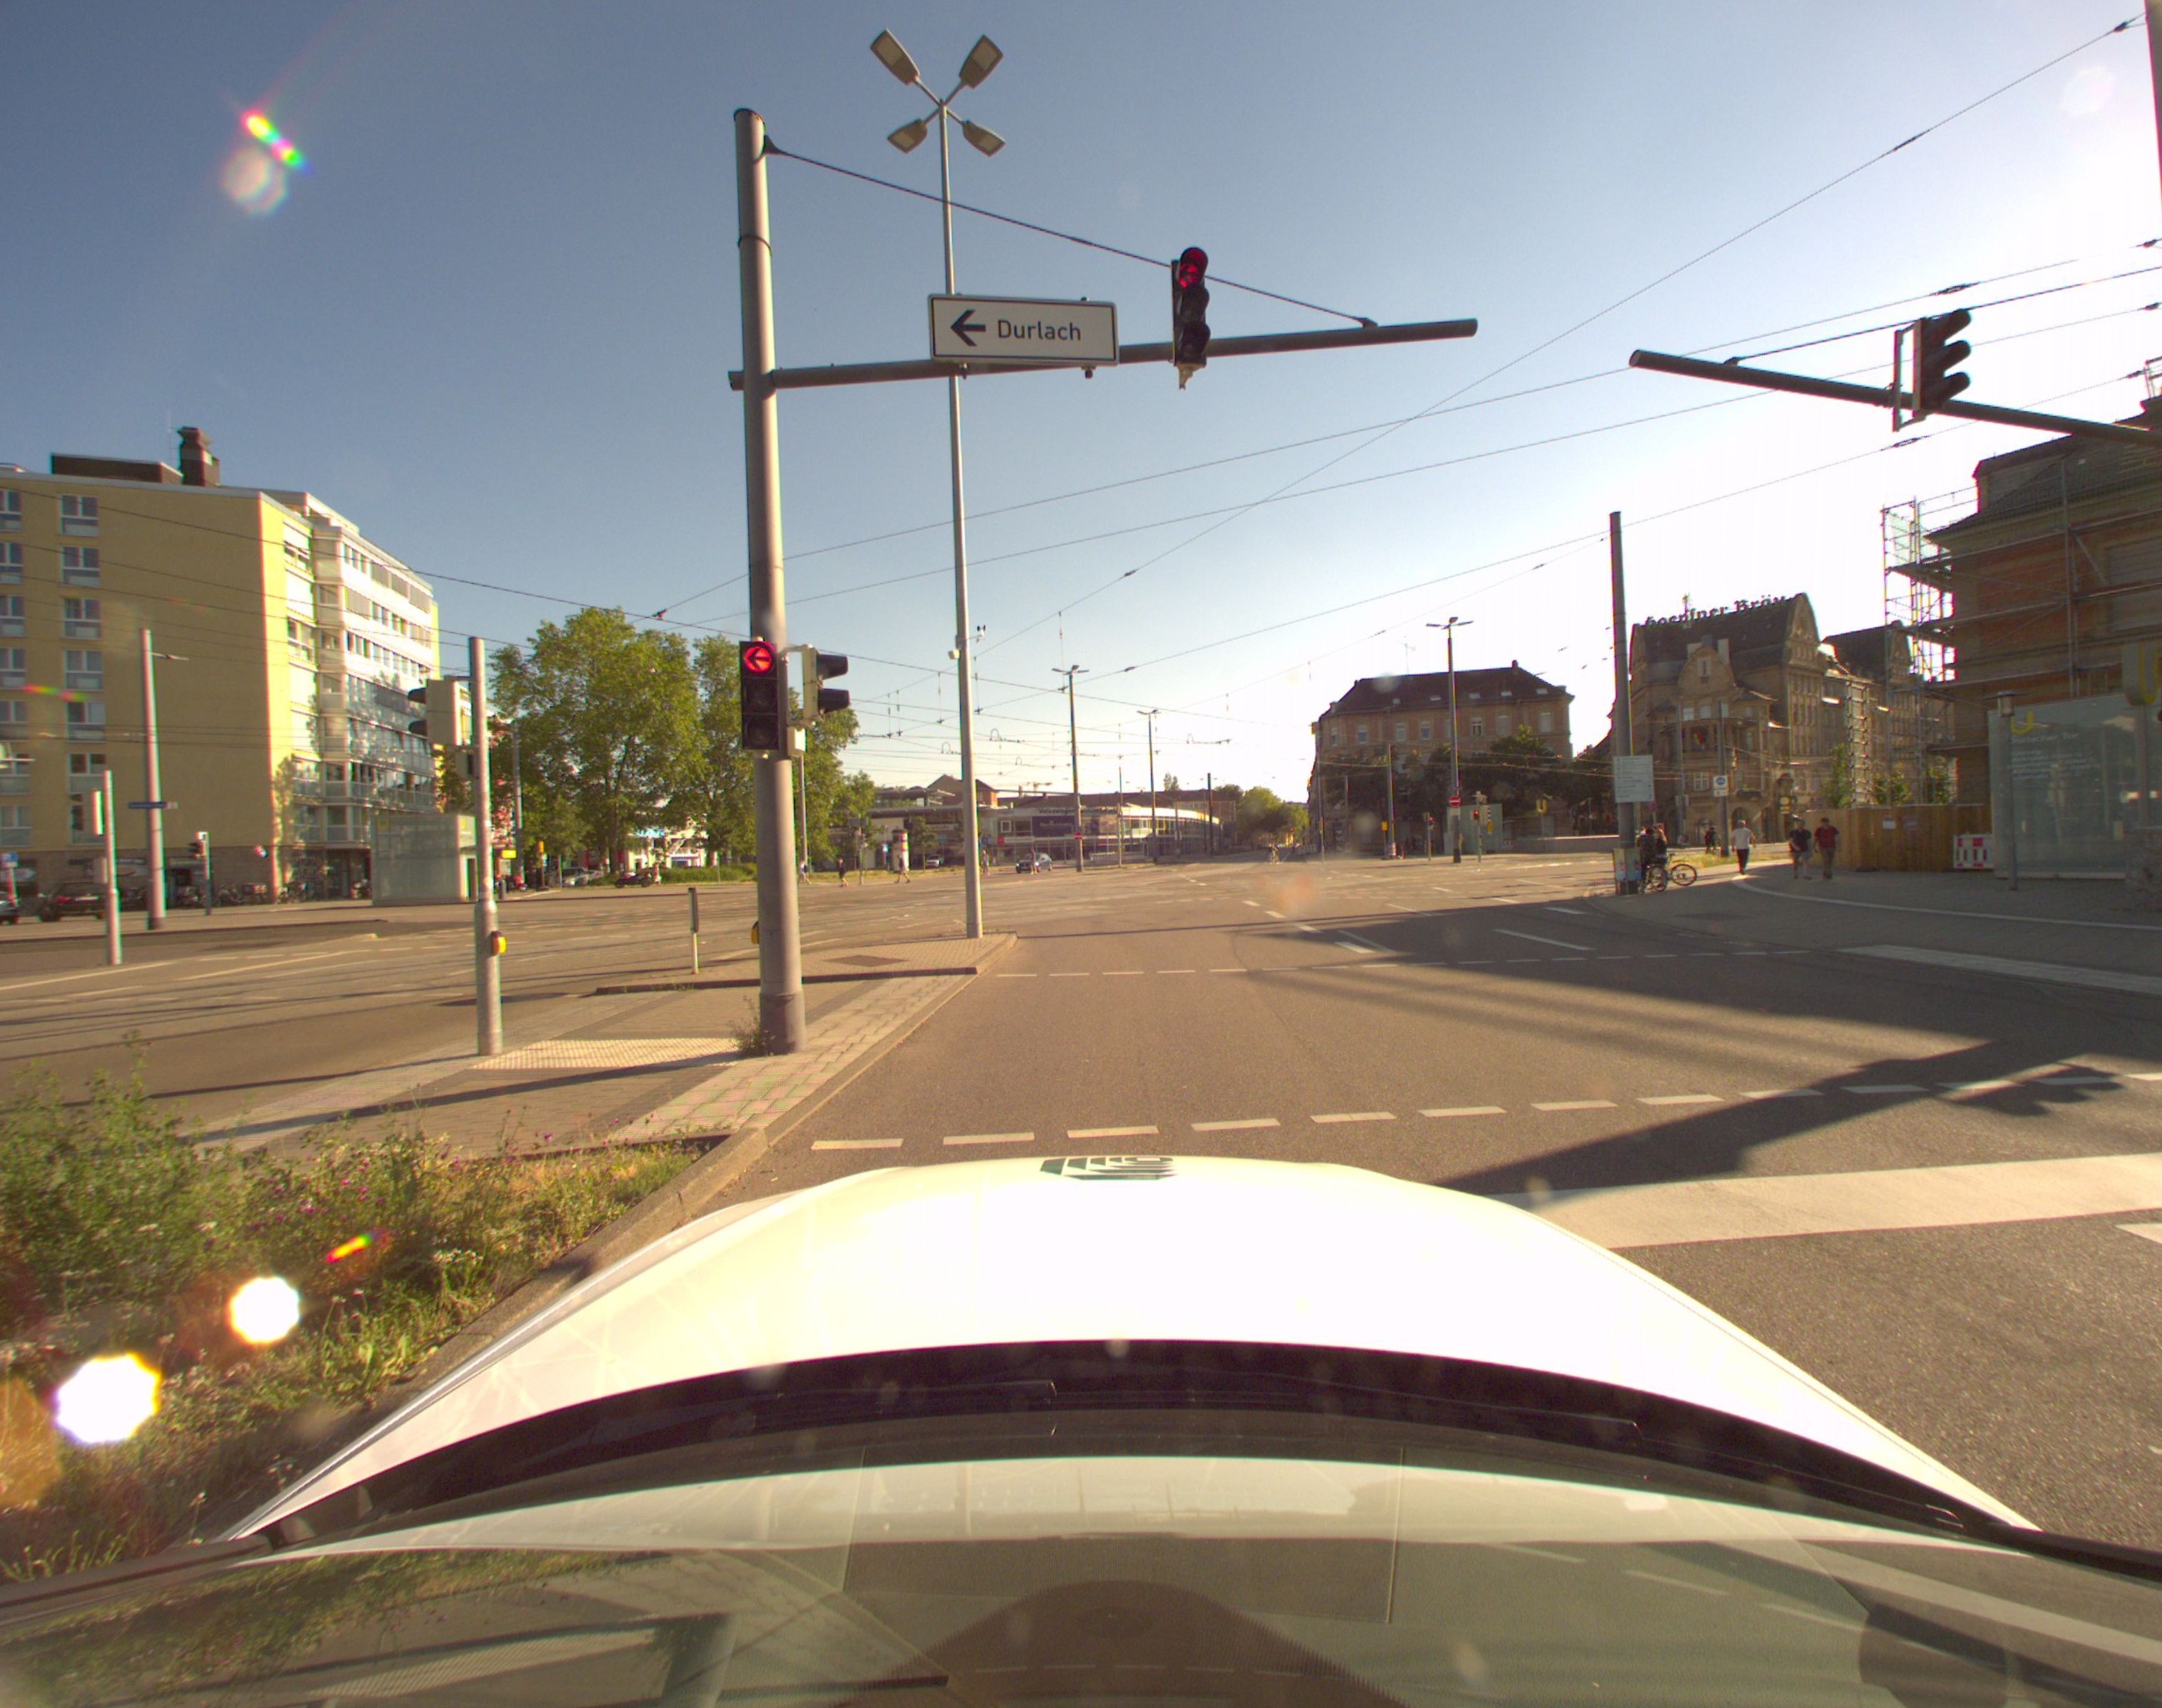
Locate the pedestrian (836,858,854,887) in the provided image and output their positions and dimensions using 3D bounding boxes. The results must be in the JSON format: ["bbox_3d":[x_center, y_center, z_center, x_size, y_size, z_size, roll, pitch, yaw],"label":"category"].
[{"bbox_3d":[-14.010,1.065,48.340,0.790,1.706,0.760,-1,-1,9],"label":"pedestrian"}]

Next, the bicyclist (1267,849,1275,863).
[{"bbox_3d":[14.909,0.145,63.883,0.401,1.116,0.405,0,-1,-38],"label":"bicyclist"}]

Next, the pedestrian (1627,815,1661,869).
[{"bbox_3d":[21.232,-0.438,30.731,0.730,2.014,0.760,0,-1,-6],"label":"pedestrian"}]

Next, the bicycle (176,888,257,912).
[{"bbox_3d":[-46.188,2.449,43.537,3.041,1.151,0.637,0,-1,-16],"label":"bicycle"}]

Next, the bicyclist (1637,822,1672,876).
[{"bbox_3d":[15.825,-0.128,22.480,0.701,1.439,0.953,-1,-1,31],"label":"bicyclist"}]

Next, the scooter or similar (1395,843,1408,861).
[{"bbox_3d":[24.861,-0.173,63.152,0.780,1.376,1.916,-1,-1,16],"label":"scooter or similar"}]

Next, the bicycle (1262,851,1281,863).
[{"bbox_3d":[14.993,0.251,63.945,1.854,0.941,0.407,0,-1,-40],"label":"bicycle"}]

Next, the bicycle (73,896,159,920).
[{"bbox_3d":[-50.307,2.812,42.468,3.041,1.151,0.637,0,-1,-16],"label":"bicycle"}]

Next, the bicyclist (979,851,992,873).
[{"bbox_3d":[-7.051,0.562,60.053,0.593,1.615,0.826,-1,-1,19],"label":"bicyclist"}]

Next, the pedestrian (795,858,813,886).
[{"bbox_3d":[-16.923,1.097,49.718,0.790,1.706,0.760,-1,-1,9],"label":"pedestrian"}]

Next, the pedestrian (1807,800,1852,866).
[{"bbox_3d":[21.132,-0.579,22.988,0.672,1.807,0.680,0,-1,-19],"label":"pedestrian"}]

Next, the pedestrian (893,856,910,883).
[{"bbox_3d":[-11.538,1.010,52.369,0.790,1.706,0.760,-1,-1,9],"label":"pedestrian"}]

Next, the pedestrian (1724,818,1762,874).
[{"bbox_3d":[21.762,-0.265,26.787,0.646,1.814,0.689,0,-1,-6],"label":"pedestrian"}]

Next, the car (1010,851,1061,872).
[{"bbox_3d":[-3.436,0.565,62.000,1.975,1.585,4.024,-1,-1,29],"label":"car"}]

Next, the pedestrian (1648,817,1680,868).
[{"bbox_3d":[21.964,-0.430,30.689,0.646,1.922,0.689,0,-1,-6],"label":"pedestrian"}]

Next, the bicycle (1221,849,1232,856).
[{"bbox_3d":[19.516,-0.248,109.480,0.661,0.952,1.585,0,-1,-28],"label":"bicycle"}]

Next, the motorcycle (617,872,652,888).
[{"bbox_3d":[-27.266,1.576,49.741,1.779,0.914,0.675,0,-1,-19],"label":"motorcycle"}]

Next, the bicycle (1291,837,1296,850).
[{"bbox_3d":[31.842,-1.553,122.038,0.613,2.014,2.410,-1,-1,16],"label":"bicycle"}]

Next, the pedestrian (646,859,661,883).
[{"bbox_3d":[-31.235,1.235,59.493,0.854,1.694,0.497,0,-1,-1],"label":"pedestrian"}]

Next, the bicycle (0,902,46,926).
[{"bbox_3d":[-54.499,3.039,41.078,3.041,1.151,0.637,0,-1,-16],"label":"bicycle"}]

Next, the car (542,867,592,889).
[{"bbox_3d":[-37.311,1.718,59.222,1.772,1.567,3.983,0,-1,-12],"label":"car"}]

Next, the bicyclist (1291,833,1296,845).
[{"bbox_3d":[31.831,-2.210,122.051,0.595,1.809,0.830,-1,-1,15],"label":"bicyclist"}]

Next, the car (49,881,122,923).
[{"bbox_3d":[-44.021,2.068,35.993,3.948,1.706,1.730,-1,-1,35],"label":"car"}]

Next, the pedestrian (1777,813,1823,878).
[{"bbox_3d":[20.478,-0.236,23.202,0.672,1.807,0.680,-3,0,-19],"label":"pedestrian"}]

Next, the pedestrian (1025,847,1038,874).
[{"bbox_3d":[-3.411,0.446,56.073,0.790,1.886,0.760,-1,-1,9],"label":"pedestrian"}]

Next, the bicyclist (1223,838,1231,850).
[{"bbox_3d":[19.573,-1.283,109.268,0.776,1.577,0.755,0,-1,-28],"label":"bicyclist"}]

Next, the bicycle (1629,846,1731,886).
[{"bbox_3d":[17.323,0.364,23.641,2.290,1.049,0.705,-3,-2,32],"label":"bicycle"}]

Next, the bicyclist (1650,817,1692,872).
[{"bbox_3d":[17.177,-0.270,23.734,0.935,1.557,0.715,-1,-1,32],"label":"bicyclist"}]

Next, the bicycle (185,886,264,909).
[{"bbox_3d":[-46.434,2.339,44.197,3.041,1.151,0.637,0,-1,-16],"label":"bicycle"}]

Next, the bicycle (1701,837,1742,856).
[{"bbox_3d":[31.892,-0.346,40.541,2.637,0.914,0.898,0,-1,-35],"label":"bicycle"}]

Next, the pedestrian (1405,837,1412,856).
[{"bbox_3d":[34.634,-0.812,86.204,0.598,2.013,0.649,-2,0,16],"label":"pedestrian"}]

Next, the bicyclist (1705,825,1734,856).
[{"bbox_3d":[31.692,-0.661,40.406,1.046,1.547,0.842,0,-1,-34],"label":"bicyclist"}]

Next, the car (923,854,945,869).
[{"bbox_3d":[-18.024,0.884,99.825,1.988,1.750,3.997,0,-1,-2],"label":"car"}]

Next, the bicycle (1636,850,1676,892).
[{"bbox_3d":[15.814,0.442,22.443,0.692,1.049,2.335,-2,0,31],"label":"bicycle"}]

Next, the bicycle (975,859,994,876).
[{"bbox_3d":[-7.083,0.998,59.952,0.607,1.189,1.878,-1,-1,19],"label":"bicycle"}]

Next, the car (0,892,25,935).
[{"bbox_3d":[-47.005,2.539,34.847,3.948,1.706,2.013,-1,-1,35],"label":"car"}]
